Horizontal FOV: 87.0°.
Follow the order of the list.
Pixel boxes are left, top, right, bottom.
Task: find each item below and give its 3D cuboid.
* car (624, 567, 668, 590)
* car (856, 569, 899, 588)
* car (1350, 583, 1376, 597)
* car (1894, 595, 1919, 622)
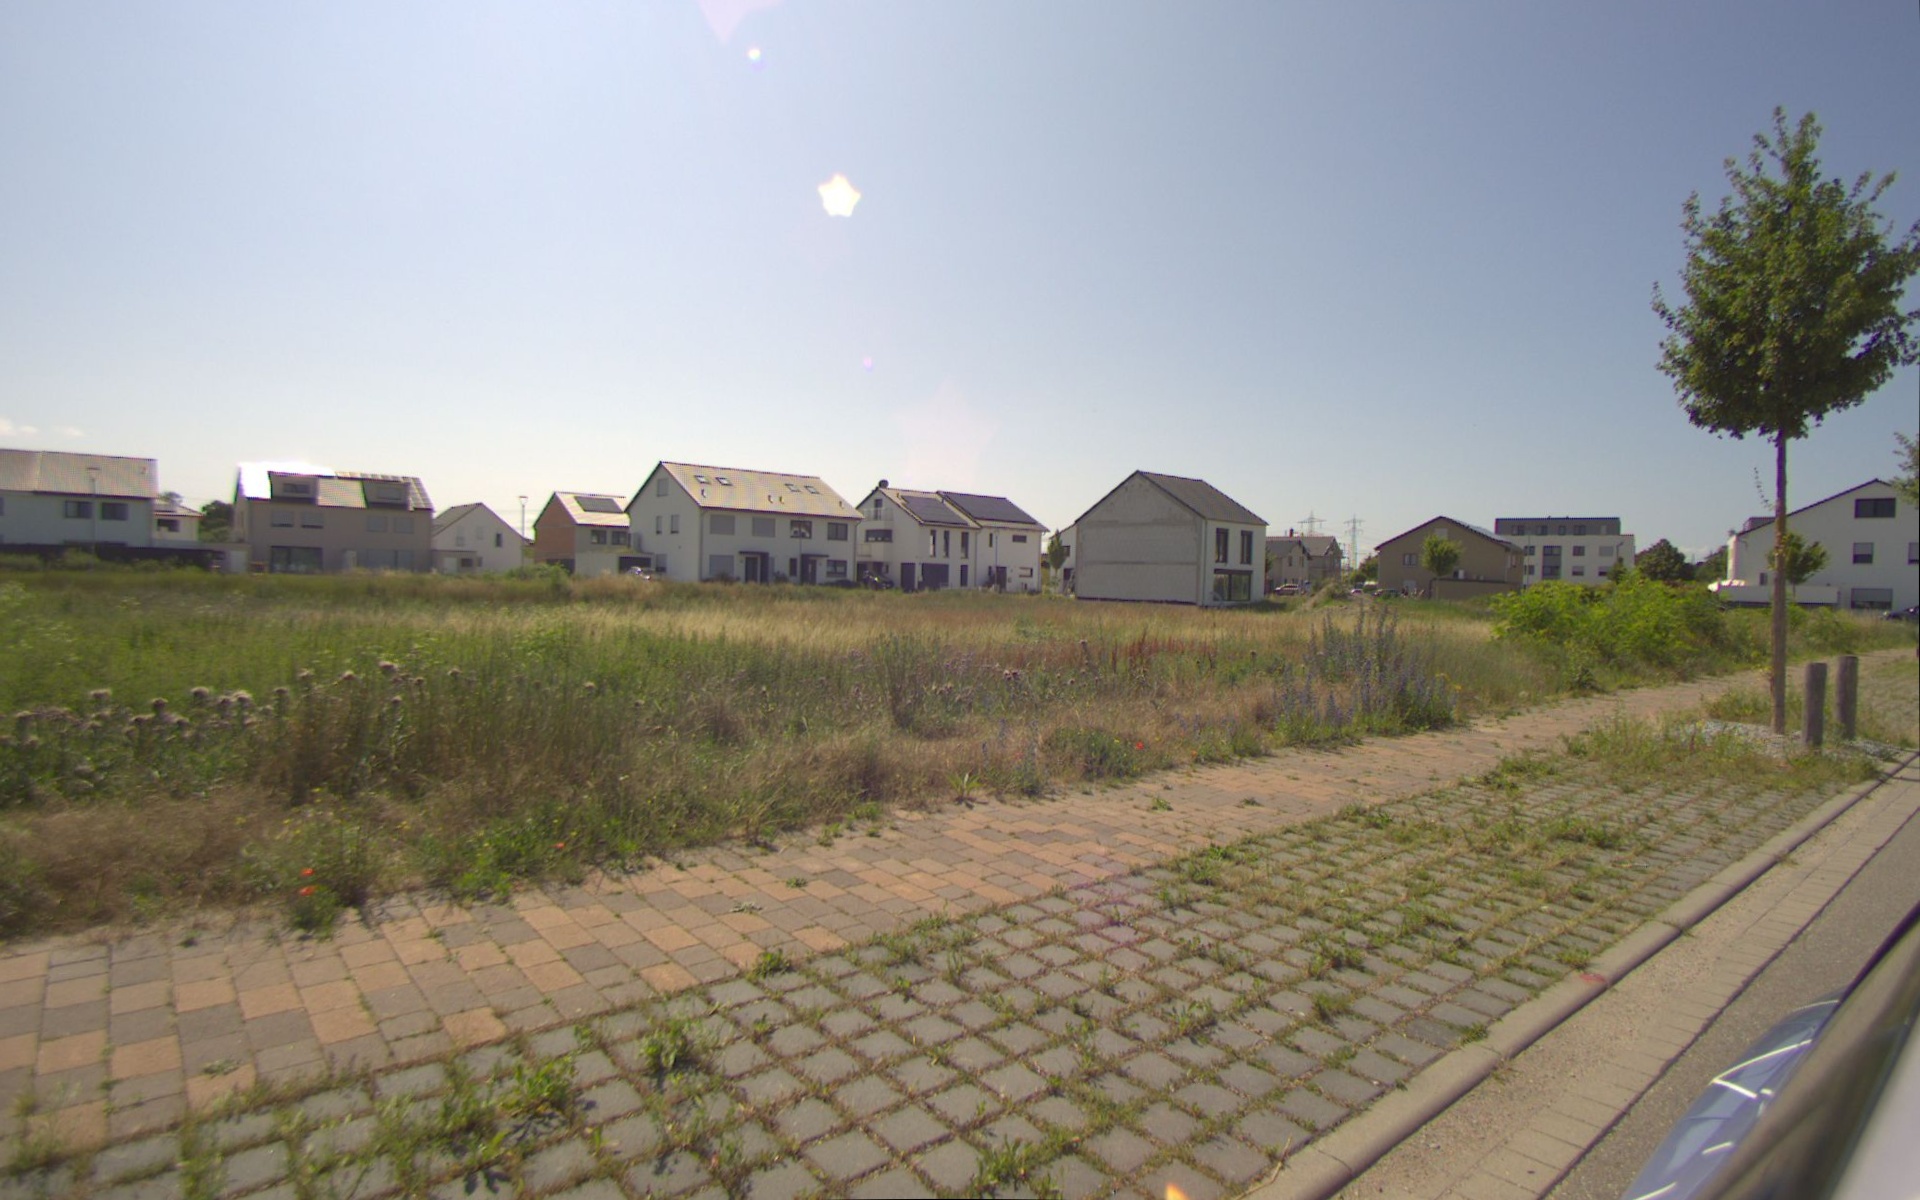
[{"bbox_3d":[-22.777,-1.595,73.300,1.781,1.593,3.999,1,1,-36],"label":"car"},{"bbox_3d":[-7.051,-1.829,85.845,1.781,1.531,3.999,1,1,-36],"label":"car"},{"bbox_3d":[48.819,-1.216,122.596,1.743,1.521,3.941,3,2,41],"label":"car"},{"bbox_3d":[57.812,0.571,59.302,1.926,1.577,4.343,1,1,-42],"label":"car"}]
